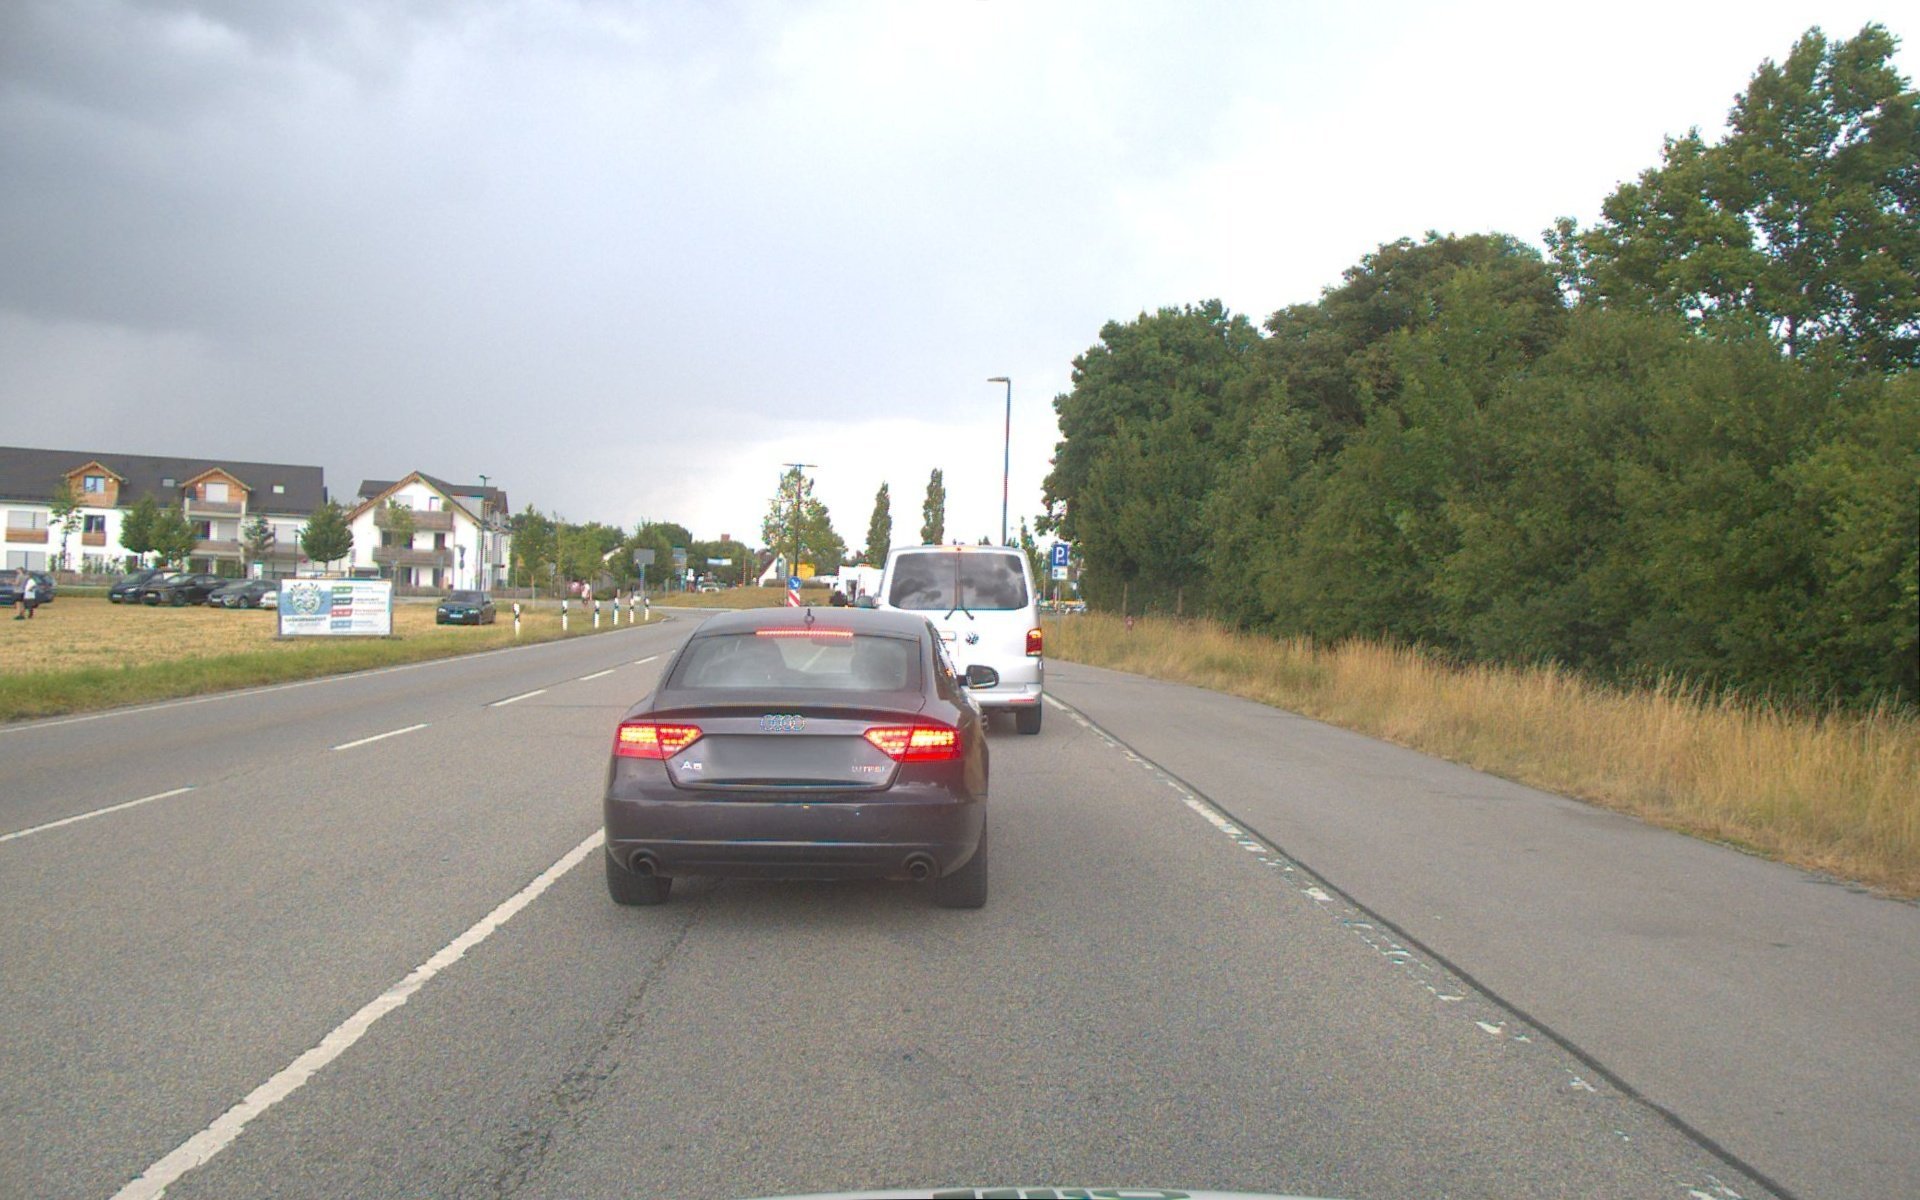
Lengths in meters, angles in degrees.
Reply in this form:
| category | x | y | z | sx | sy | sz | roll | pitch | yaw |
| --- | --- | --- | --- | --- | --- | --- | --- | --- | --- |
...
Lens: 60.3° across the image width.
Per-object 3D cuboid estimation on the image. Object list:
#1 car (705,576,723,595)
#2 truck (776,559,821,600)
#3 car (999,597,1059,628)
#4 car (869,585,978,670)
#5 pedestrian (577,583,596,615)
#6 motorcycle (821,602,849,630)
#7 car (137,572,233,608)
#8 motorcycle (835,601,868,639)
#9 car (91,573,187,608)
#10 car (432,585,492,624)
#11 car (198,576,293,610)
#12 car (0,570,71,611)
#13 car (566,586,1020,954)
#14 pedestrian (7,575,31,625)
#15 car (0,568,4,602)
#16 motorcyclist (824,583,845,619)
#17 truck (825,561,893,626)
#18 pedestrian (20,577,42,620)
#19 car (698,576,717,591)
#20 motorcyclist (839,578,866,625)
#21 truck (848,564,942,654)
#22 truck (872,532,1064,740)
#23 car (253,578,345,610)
| category | x | y | z | sx | sy | sz | roll | pitch | yaw |
| --- | --- | --- | --- | --- | --- | --- | --- | --- | --- |
| car | -27.871 | -1.624 | 187.350 | 1.956 | 2.049 | 3.992 | 2 | 0 | -8 |
| truck | -15.553 | -1.995 | 158.757 | 3.511 | 3.640 | 9.935 | 2 | 1 | -9 |
| car | 4.974 | 0.879 | 119.124 | 3.904 | 2.049 | 2.001 | 2 | 0 | 19 |
| car | -0.735 | 0.503 | 32.212 | 1.953 | 1.511 | 3.998 | 1 | 0 | -2 |
| pedestrian | -19.010 | -0.067 | 84.209 | 0.652 | 1.613 | 0.692 | 2 | 0 | -42 |
| motorcycle | -4.884 | 0.601 | 64.742 | 0.925 | 1.037 | 2.283 | 2 | 0 | -1 |
| car | -37.852 | -0.492 | 80.891 | 1.951 | 1.657 | 4.214 | 1 | 0 | 17 |
| motorcycle | -3.337 | 0.615 | 51.017 | 0.901 | 1.113 | 2.188 | 2 | 0 | -2 |
| car | -40.964 | -0.469 | 82.628 | 1.951 | 1.657 | 4.214 | 1 | 0 | 17 |
| car | -20.322 | 0.169 | 67.612 | 1.958 | 1.467 | 3.989 | 2 | 1 | -12 |
| car | -34.665 | -0.327 | 80.399 | 1.951 | 1.562 | 4.214 | 1 | 0 | 17 |
| car | -42.020 | -0.455 | 72.985 | 4.649 | 1.727 | 1.987 | 1 | 0 | -22 |
| car | -0.688 | 0.694 | 8.883 | 1.836 | 1.479 | 4.177 | 1 | 0 | 0 |
| pedestrian | -34.464 | -0.013 | 60.603 | 0.539 | 1.817 | 0.676 | 1 | 0 | -13 |
| car | -51.362 | -0.823 | 83.948 | 4.560 | 1.727 | 1.987 | 1 | 0 | -22 |
| motorcyclist | -4.899 | 0.038 | 64.622 | 0.770 | 1.380 | 0.853 | 2 | 0 | -2 |
| truck | -4.662 | -0.312 | 75.710 | 2.577 | 2.785 | 5.857 | 2 | 0 | -8 |
| pedestrian | -34.607 | -0.062 | 61.615 | 0.581 | 1.582 | 0.622 | 1 | 0 | -20 |
| car | -29.708 | -1.892 | 194.601 | 1.955 | 1.670 | 3.995 | 2 | 0 | -5 |
| motorcyclist | -3.295 | 0.050 | 50.906 | 0.756 | 1.407 | 0.820 | 2 | 0 | -1 |
| truck | -1.576 | 0.212 | 41.339 | 2.149 | 2.049 | 5.083 | 2 | 0 | -1 |
| truck | 0.041 | 0.347 | 18.833 | 1.865 | 2.033 | 4.627 | 2 | 0 | -1 |
| car | -31.947 | -0.277 | 80.058 | 1.951 | 1.471 | 4.214 | 1 | 0 | 17 |
